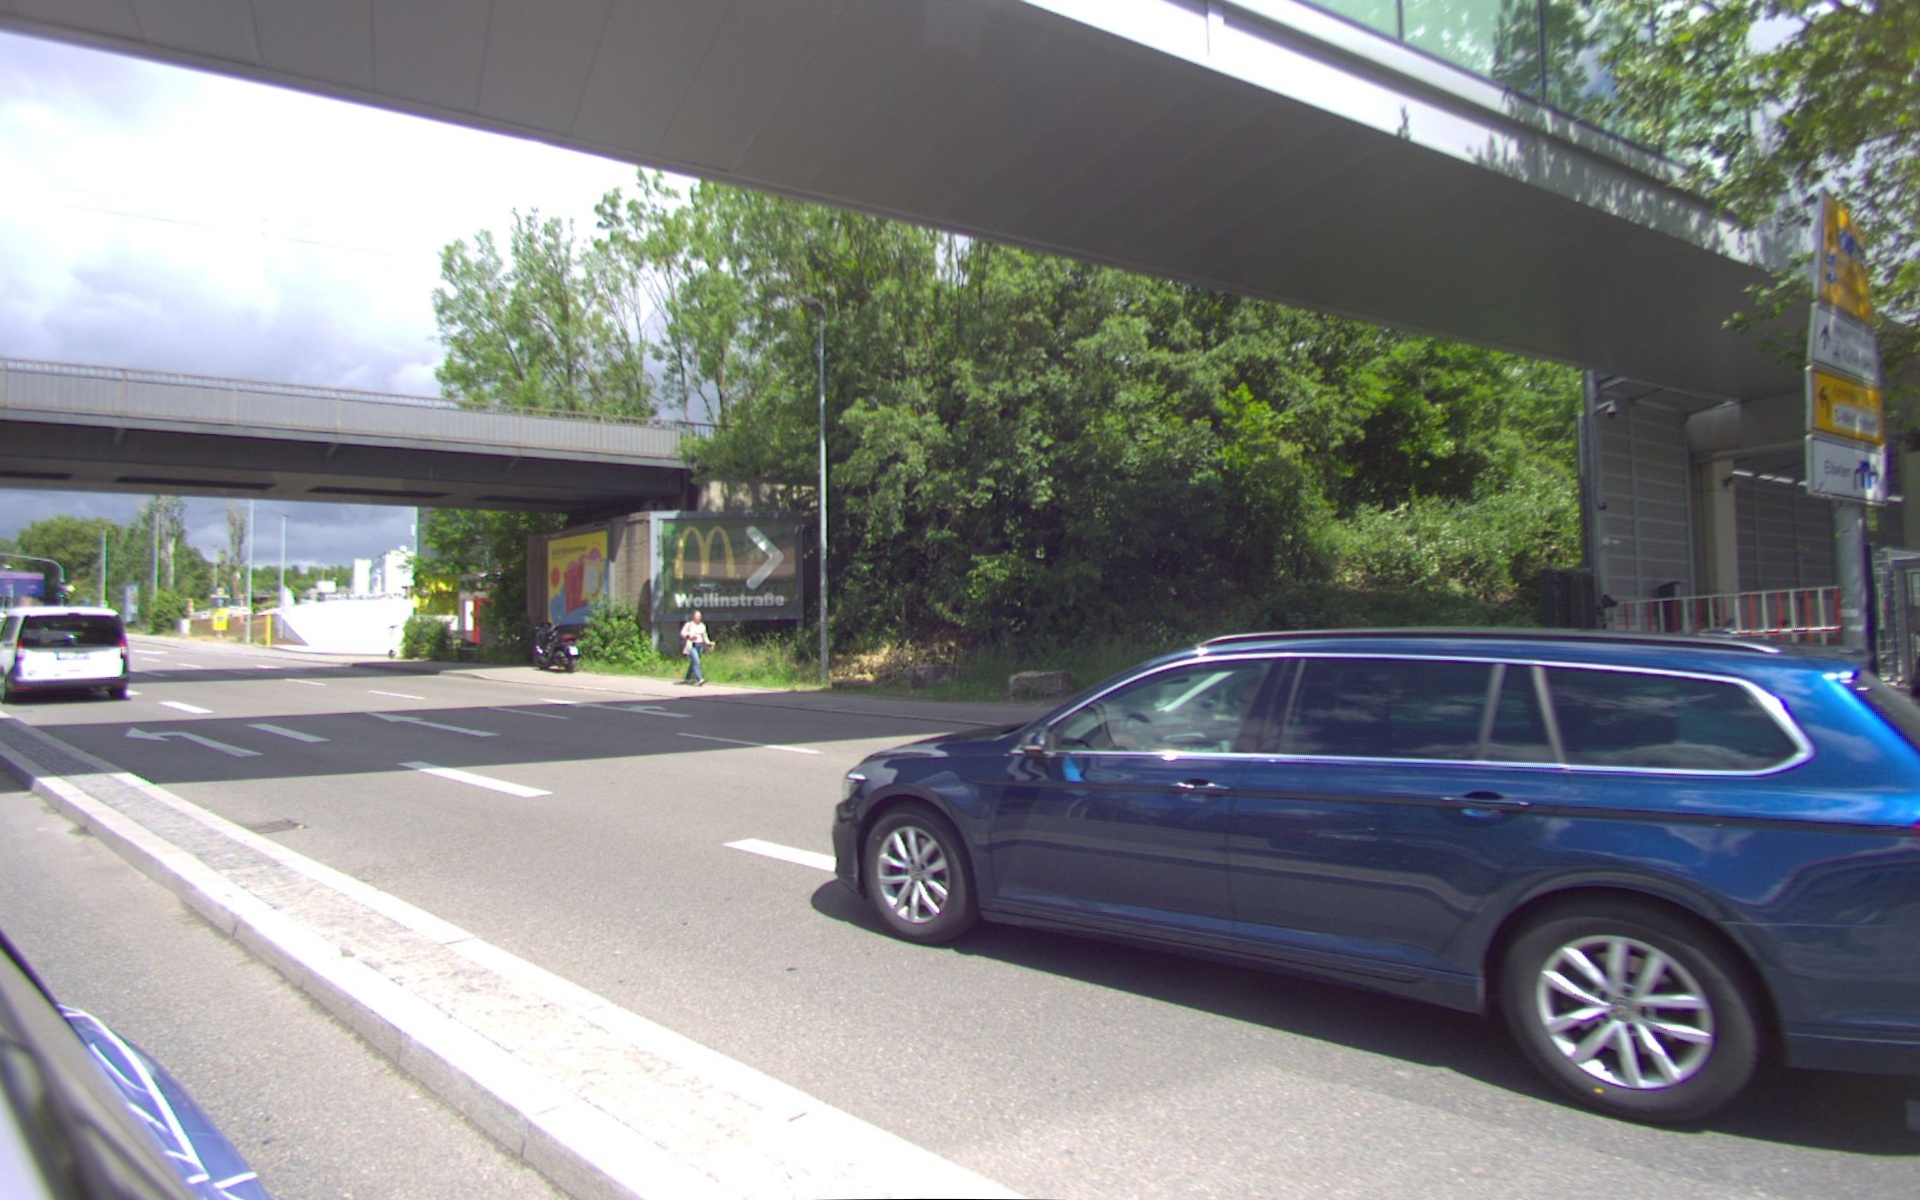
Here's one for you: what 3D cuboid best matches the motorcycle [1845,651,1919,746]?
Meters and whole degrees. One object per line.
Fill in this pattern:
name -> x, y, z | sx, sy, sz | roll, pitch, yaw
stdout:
motorcycle -> 10.530, 1.040, 11.008 | 1.718, 0.875, 0.778 | -2, -1, -28

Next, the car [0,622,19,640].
car -> -79.075, 2.550, 83.400 | 4.000, 1.498, 1.972 | -1, -2, 43

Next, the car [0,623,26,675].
car -> -29.436, 1.446, 30.314 | 3.981, 1.500, 1.691 | -1, -2, 41

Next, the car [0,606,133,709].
car -> -18.005, 1.055, 19.970 | 4.975, 1.794, 1.789 | -1, -2, 41

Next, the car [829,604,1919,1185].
car -> 1.654, 0.787, 4.201 | 4.472, 1.464, 1.693 | -2, -2, 37

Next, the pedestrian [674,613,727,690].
pedestrian -> -5.670, 1.105, 22.142 | 0.813, 1.624, 0.760 | -1, 0, 40

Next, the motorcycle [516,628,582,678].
motorcycle -> -10.819, 1.372, 26.604 | 2.256, 1.207, 0.633 | -1, 1, 41

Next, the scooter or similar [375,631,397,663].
scooter or similar -> -20.472, 1.666, 36.097 | 0.470, 1.129, 1.387 | 2, -3, -37

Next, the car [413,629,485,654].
car -> -34.698, 2.828, 68.783 | 1.957, 1.630, 3.947 | -1, -3, 39

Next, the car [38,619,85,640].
car -> -59.866, 1.982, 67.403 | 4.000, 1.364, 1.972 | -1, -2, 43
